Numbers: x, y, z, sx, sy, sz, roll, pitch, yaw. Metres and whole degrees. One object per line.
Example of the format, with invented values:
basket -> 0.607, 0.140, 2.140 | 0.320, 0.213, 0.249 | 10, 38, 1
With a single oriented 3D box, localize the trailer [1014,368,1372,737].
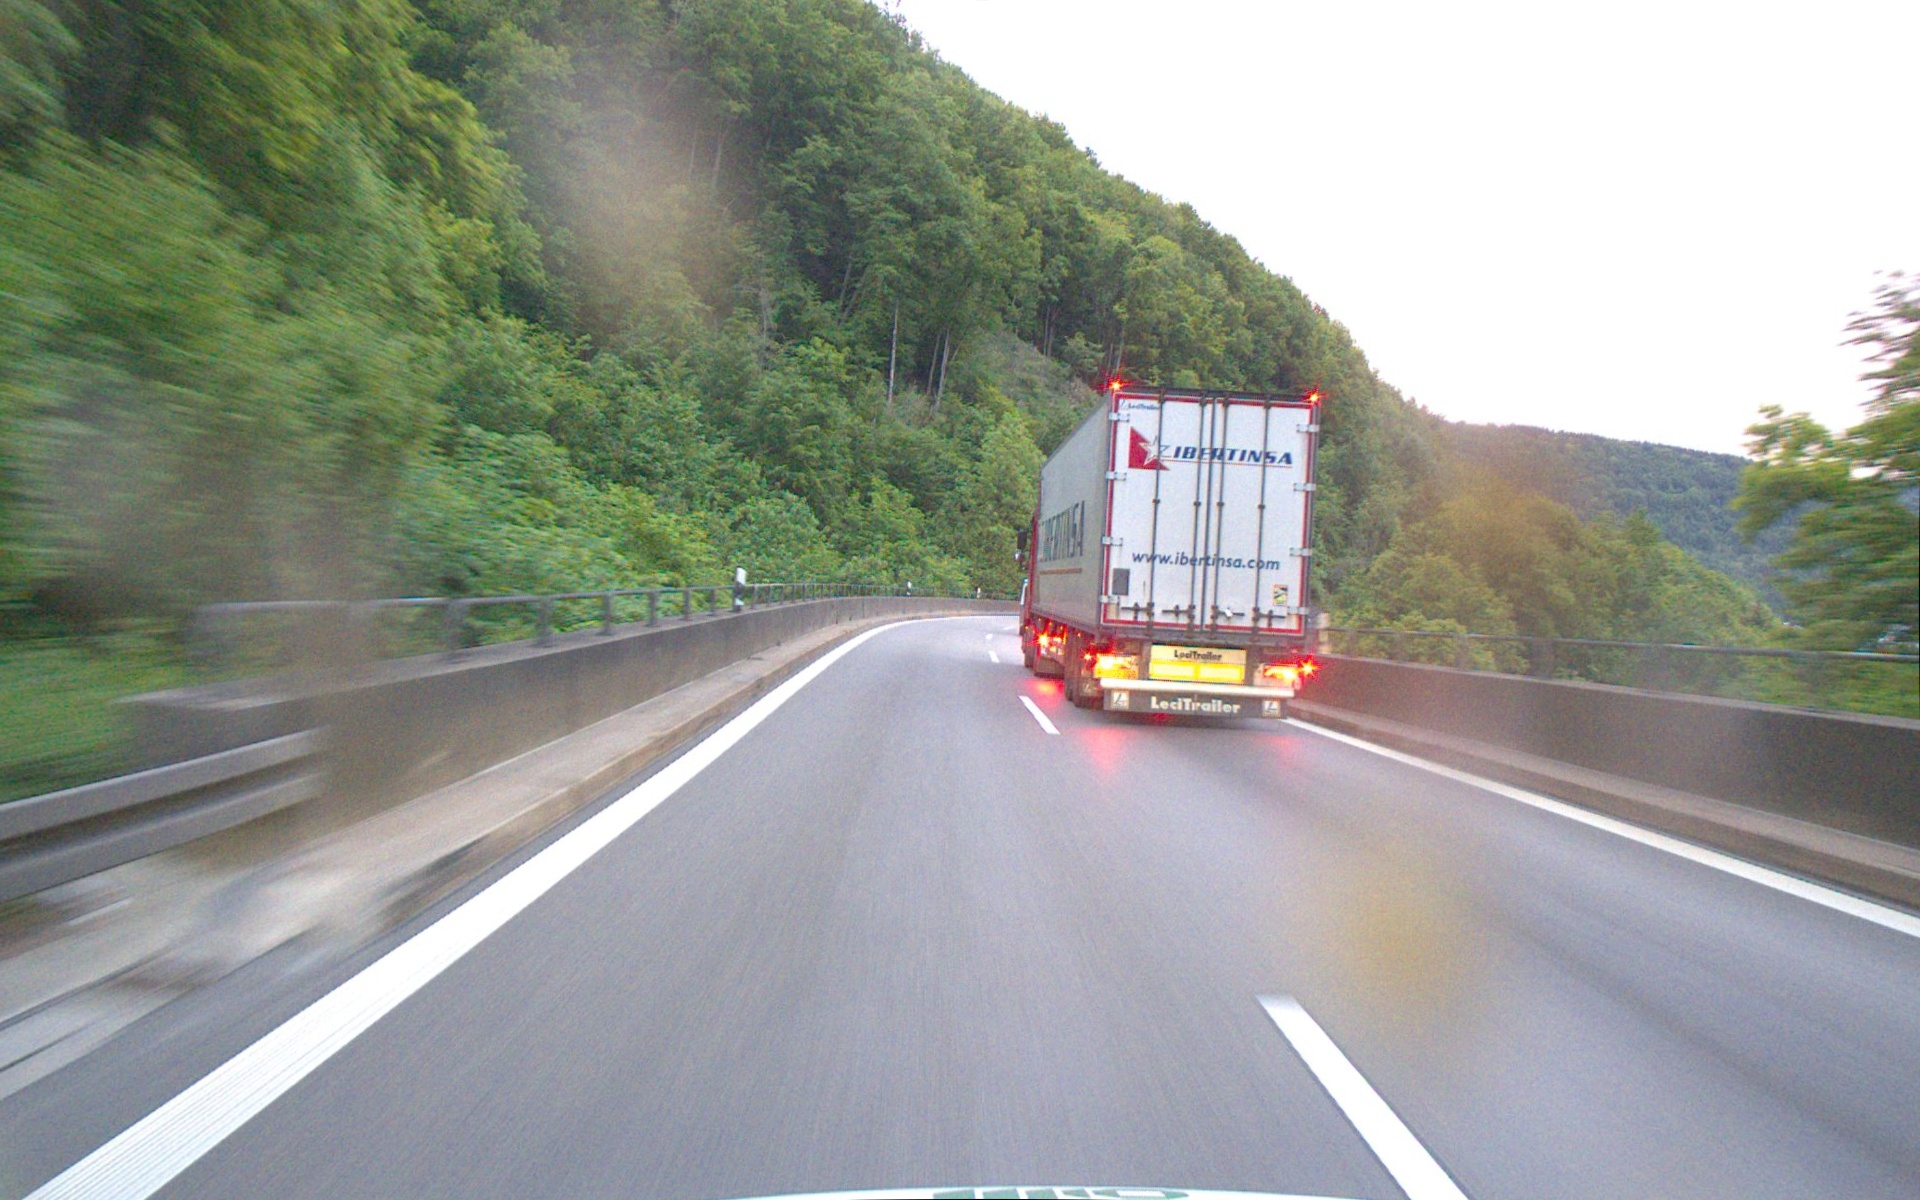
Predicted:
trailer -> 2.952, -0.576, 26.369 | 3.035, 4.038, 14.213 | 5, 0, -2

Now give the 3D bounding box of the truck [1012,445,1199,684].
truck -> 2.738, -0.639, 33.227 | 3.007, 4.217, 6.446 | 2, 0, 0

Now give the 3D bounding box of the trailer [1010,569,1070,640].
trailer -> 3.219, 0.113, 65.549 | 2.013, 2.414, 5.941 | 7, 1, 3
